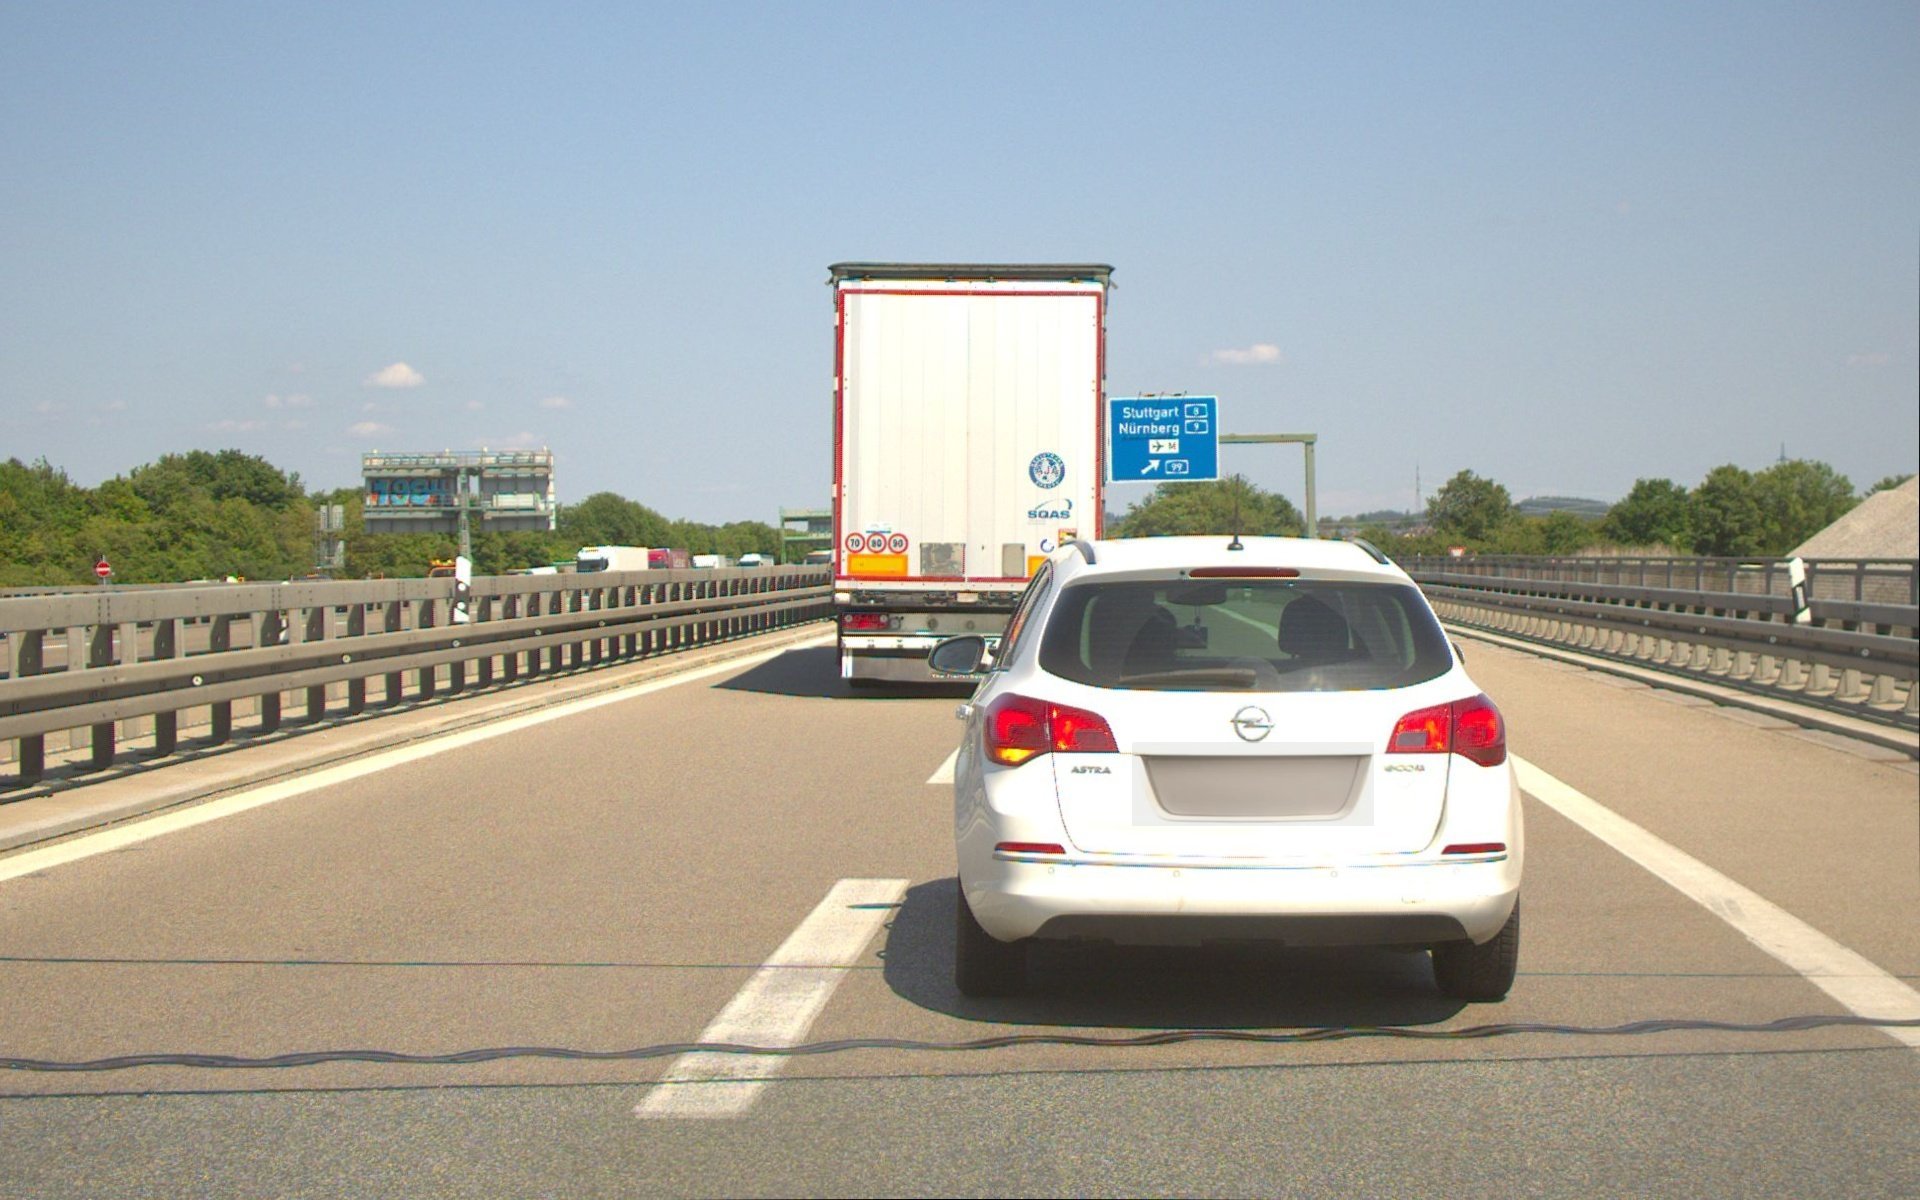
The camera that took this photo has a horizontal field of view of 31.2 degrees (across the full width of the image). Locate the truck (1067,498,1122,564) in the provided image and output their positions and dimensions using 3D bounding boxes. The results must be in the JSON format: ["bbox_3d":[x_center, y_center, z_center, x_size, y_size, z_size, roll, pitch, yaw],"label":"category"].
[{"bbox_3d":[9.271,-4.689,235.796,3.539,4.131,11.256,3,0,3],"label":"truck"}]

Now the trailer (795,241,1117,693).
[{"bbox_3d":[0.114,-1.229,37.336,2.912,4.131,11.257,1,0,2],"label":"trailer"}]

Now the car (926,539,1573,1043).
[{"bbox_3d":[0.858,0.523,12.113,1.854,1.438,4.372,0,1,1],"label":"car"}]
